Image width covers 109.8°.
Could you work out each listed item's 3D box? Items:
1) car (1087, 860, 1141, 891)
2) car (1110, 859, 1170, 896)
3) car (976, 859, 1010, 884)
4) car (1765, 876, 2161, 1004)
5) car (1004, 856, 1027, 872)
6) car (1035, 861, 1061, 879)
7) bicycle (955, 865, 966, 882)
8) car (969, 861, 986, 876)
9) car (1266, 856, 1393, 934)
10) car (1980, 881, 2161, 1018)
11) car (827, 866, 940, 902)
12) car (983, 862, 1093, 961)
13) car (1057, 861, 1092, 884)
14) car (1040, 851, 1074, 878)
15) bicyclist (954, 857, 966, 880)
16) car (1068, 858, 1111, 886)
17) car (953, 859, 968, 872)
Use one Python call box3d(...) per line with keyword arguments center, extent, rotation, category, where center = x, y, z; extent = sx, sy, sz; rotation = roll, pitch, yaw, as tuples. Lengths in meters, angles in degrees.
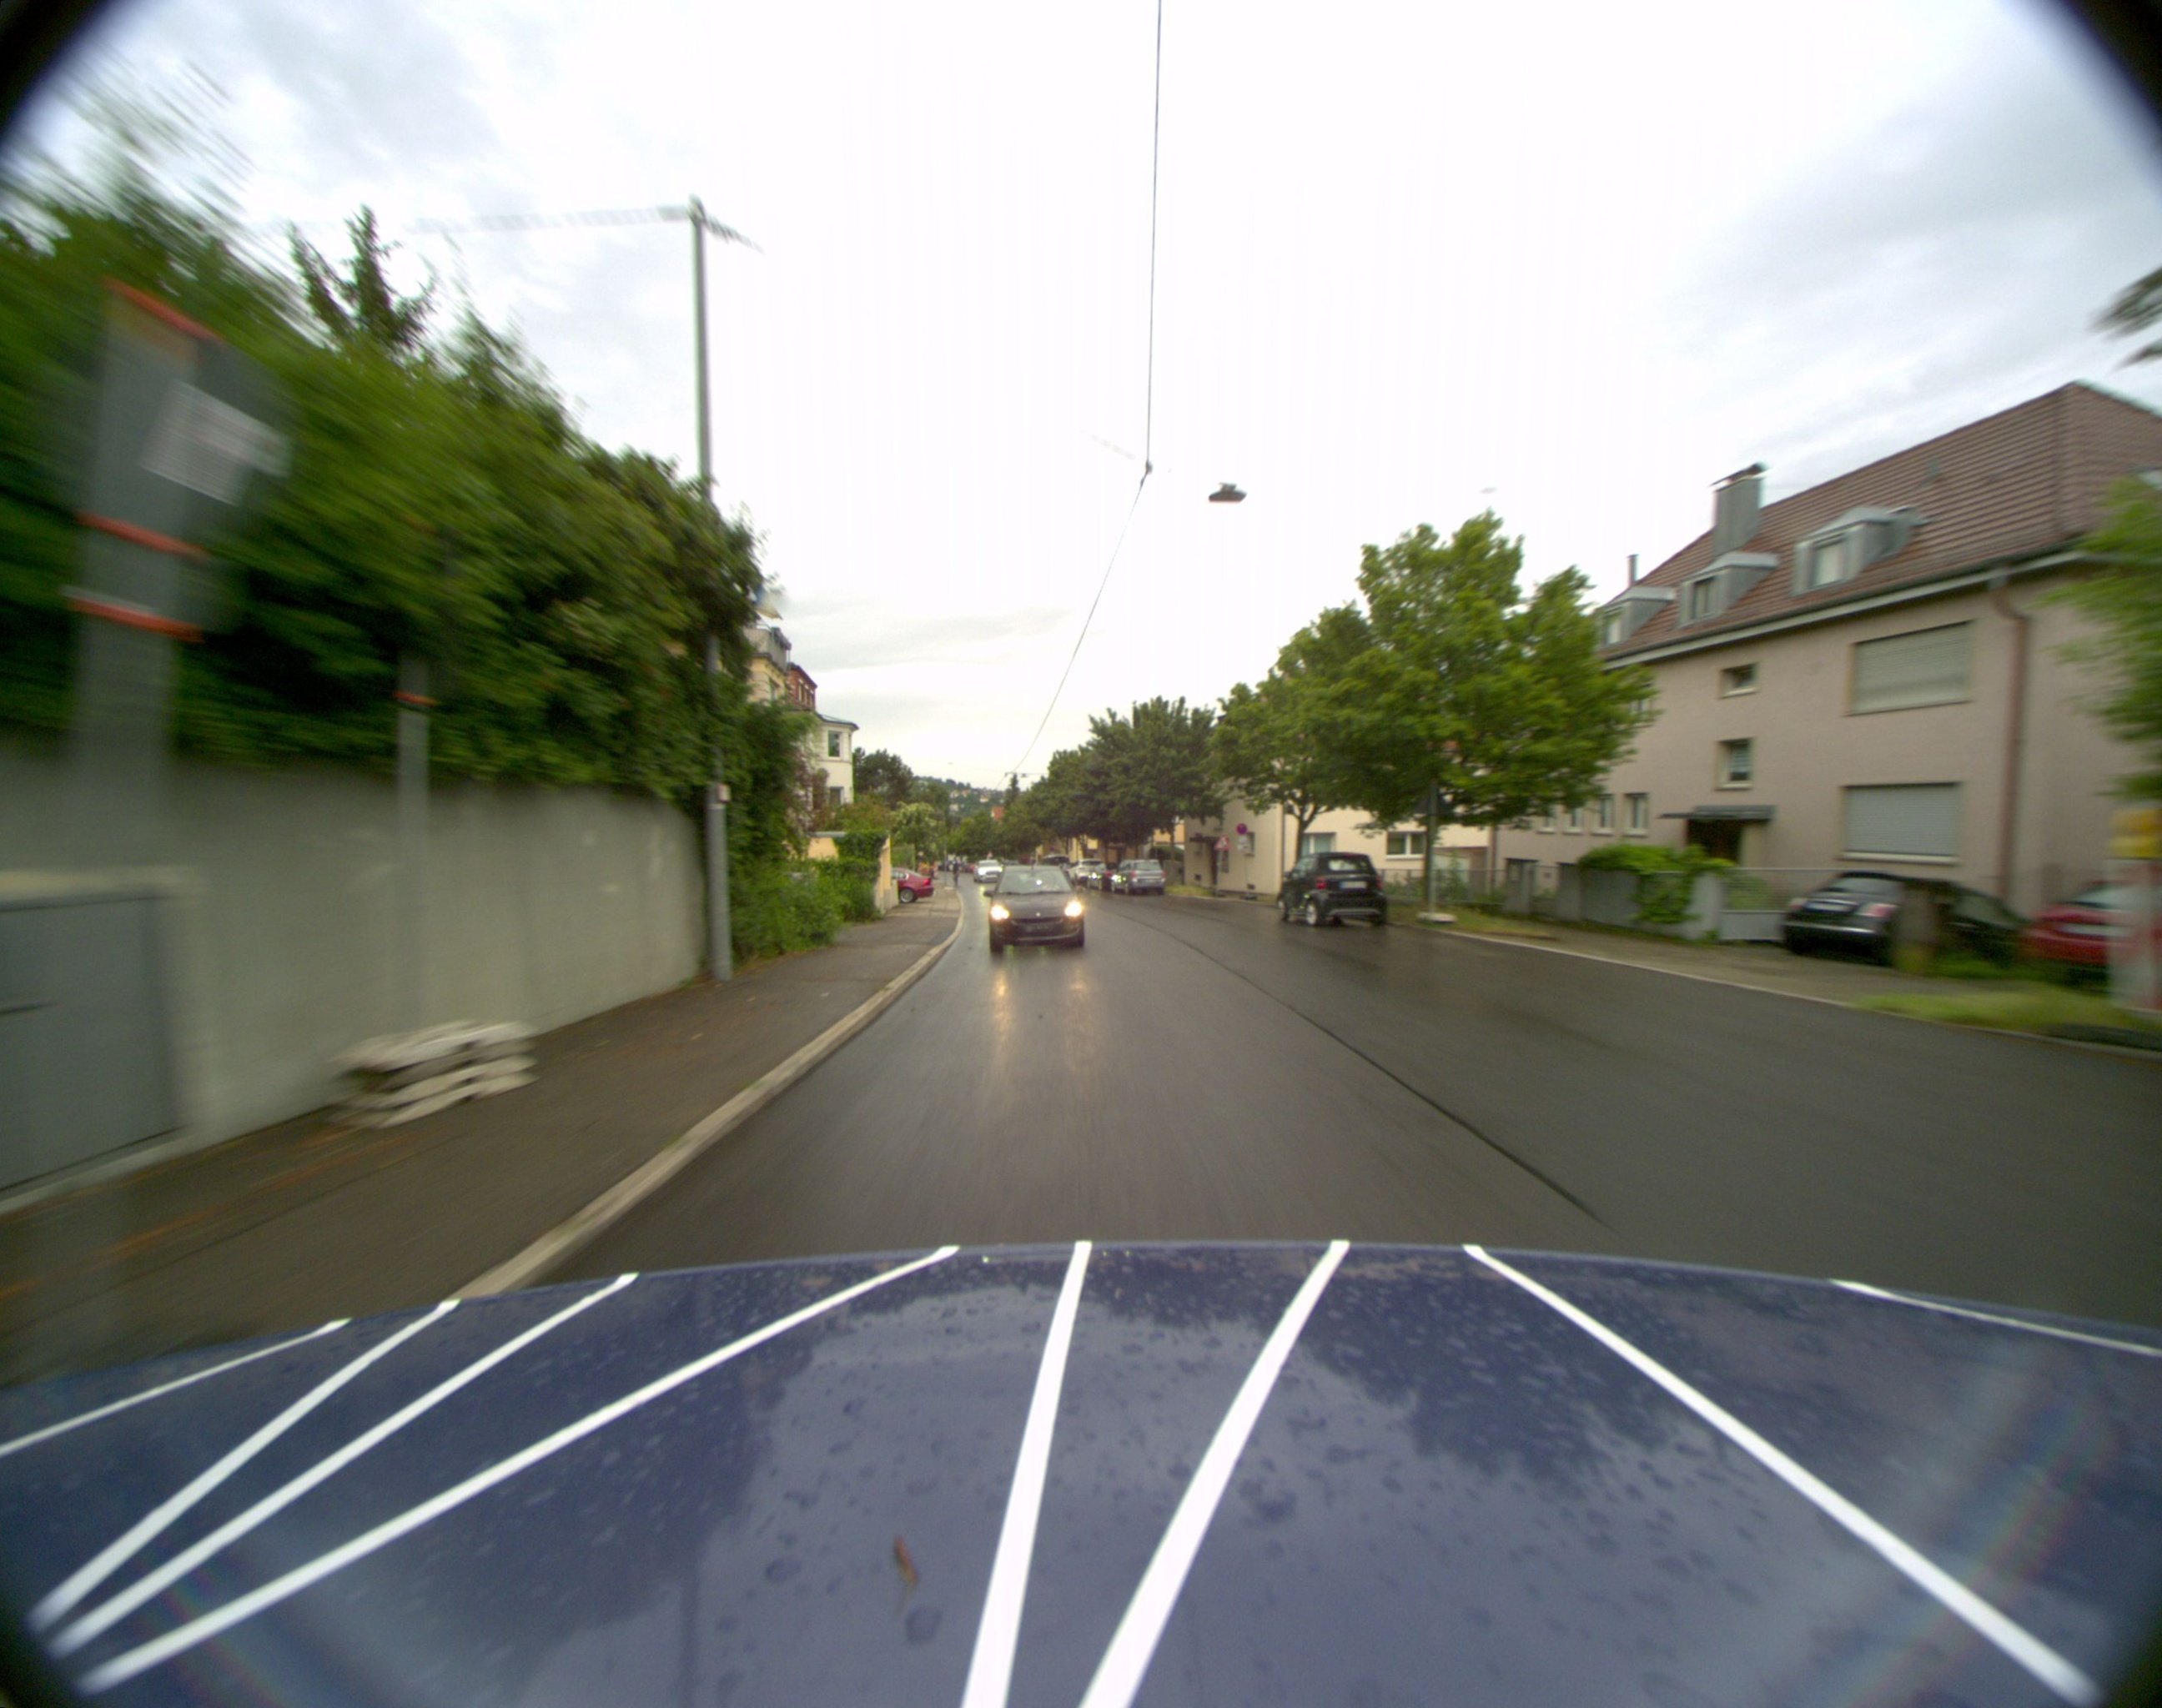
box3d(center=(1.708, 1.108, 40.769), extent=(1.828, 1.500, 4.734), rotation=(0, 0, -11), category="car")
box3d(center=(2.698, 1.059, 35.642), extent=(1.723, 1.536, 4.290), rotation=(1, 0, -11), category="car")
box3d(center=(-6.647, 1.276, 57.039), extent=(2.020, 1.728, 4.594), rotation=(-3, 0, -13), category="car")
box3d(center=(13.349, 1.252, 11.684), extent=(3.928, 1.353, 1.827), rotation=(6, 1, -2), category="car")
box3d(center=(-6.999, 1.040, 80.577), extent=(1.911, 1.591, 4.084), rotation=(-1, 0, -13), category="car")
box3d(center=(-2.804, 1.330, 64.285), extent=(1.544, 1.365, 3.536), rotation=(1, 0, -12), category="car")
box3d(center=(-8.415, 1.373, 52.855), extent=(0.591, 1.092, 1.526), rotation=(-3, 1, -13), category="bicycle")
box3d(center=(-13.788, 1.901, 101.453), extent=(1.999, 2.002, 3.999), rotation=(-1, 0, -3), category="car")
box3d(center=(5.345, 0.822, 16.699), extent=(1.522, 1.526, 3.034), rotation=(0, 0, -6), category="car")
box3d(center=(13.466, 1.245, 8.804), extent=(3.928, 1.386, 1.778), rotation=(6, 1, -2), category="car")
box3d(center=(-7.897, 1.188, 30.711), extent=(4.183, 1.398, 1.833), rotation=(1, -1, -6), category="car")
box3d(center=(-0.859, 0.971, 14.763), extent=(1.747, 1.434, 4.357), rotation=(-3, 1, -4), category="car")
box3d(center=(-0.495, 1.232, 52.080), extent=(1.624, 1.433, 4.263), rotation=(1, 0, -11), category="car")
box3d(center=(-1.915, 0.808, 59.231), extent=(1.824, 2.000, 4.557), rotation=(1, 0, -12), category="car")
box3d(center=(-8.435, 1.006, 52.868), extent=(0.685, 1.528, 0.784), rotation=(-4, 1, -13), category="bicyclist")
box3d(center=(0.444, 1.031, 46.173), extent=(1.814, 1.604, 4.505), rotation=(0, 0, -10), category="car")
box3d(center=(-18.553, 1.720, 116.849), extent=(2.001, 2.002, 3.995), rotation=(-1, 0, -14), category="car")
